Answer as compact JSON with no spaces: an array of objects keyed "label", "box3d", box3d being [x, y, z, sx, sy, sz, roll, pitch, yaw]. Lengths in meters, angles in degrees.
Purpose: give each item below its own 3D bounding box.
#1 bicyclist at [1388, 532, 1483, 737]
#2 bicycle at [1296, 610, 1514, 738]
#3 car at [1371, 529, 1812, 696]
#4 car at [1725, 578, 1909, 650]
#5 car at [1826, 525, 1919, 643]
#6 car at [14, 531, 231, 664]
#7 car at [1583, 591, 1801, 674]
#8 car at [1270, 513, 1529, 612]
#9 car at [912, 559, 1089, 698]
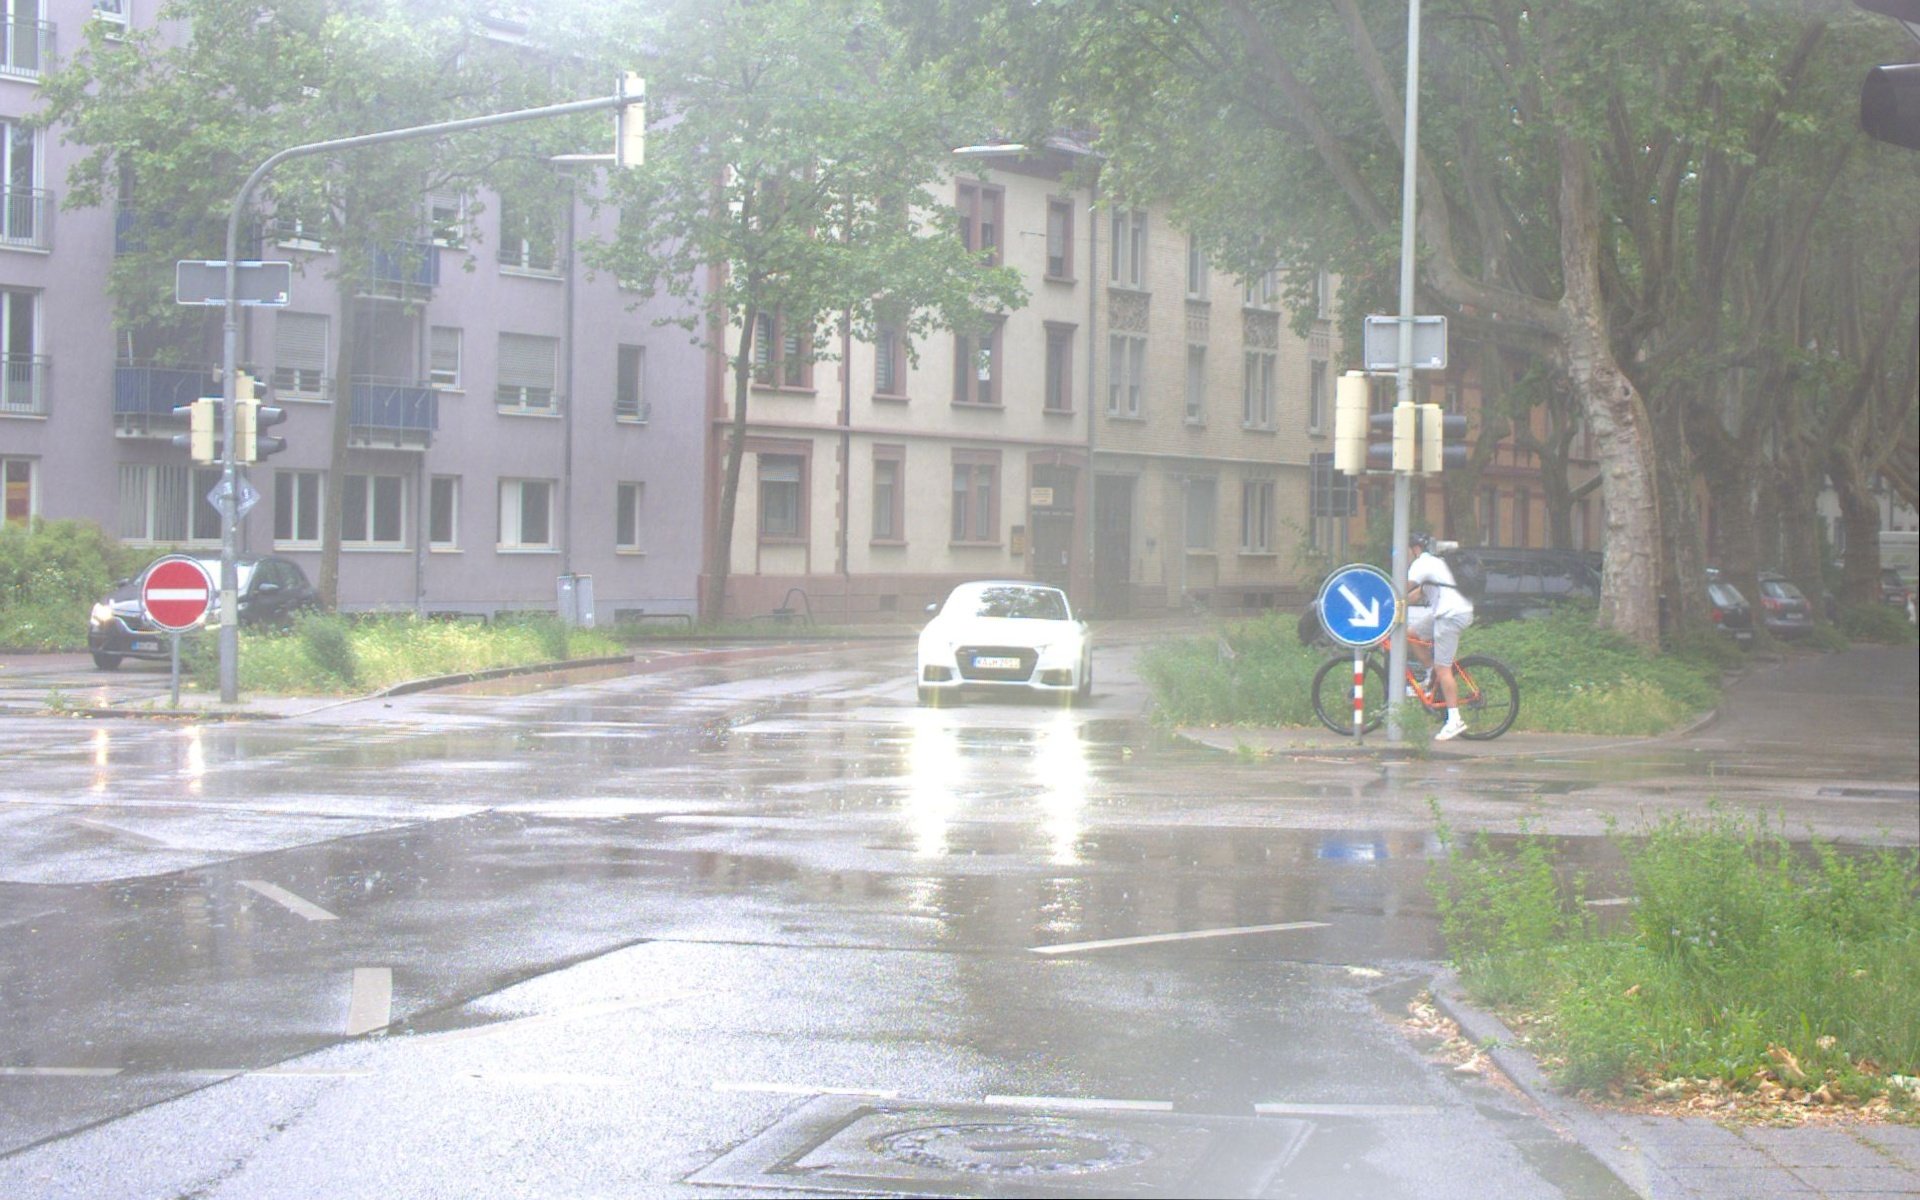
[{"label":"bicyclist","box3d":[4.194,0.298,30.368,0.795,1.780,0.697,1,0,8]},{"label":"bicycle","box3d":[3.933,0.645,30.404,1.873,1.077,0.657,1,0,8]},{"label":"car","box3d":[6.025,0.100,32.740,3.989,1.481,1.999,1,1,12]},{"label":"car","box3d":[19.570,0.308,78.660,3.989,1.542,1.999,1,1,12]},{"label":"car","box3d":[24.390,-0.414,87.721,2.033,2.938,4.773,1,1,-21]},{"label":"car","box3d":[-10.049,-0.065,41.503,1.751,1.506,3.839,1,1,-2]},{"label":"car","box3d":[13.926,0.604,65.459,3.989,1.481,1.999,1,1,12]},{"label":"car","box3d":[6.888,-0.591,53.732,3.868,1.481,1.715,1,0,12]},{"label":"car","box3d":[0.485,0.284,39.129,1.884,1.431,4.000,1,1,1]}]
